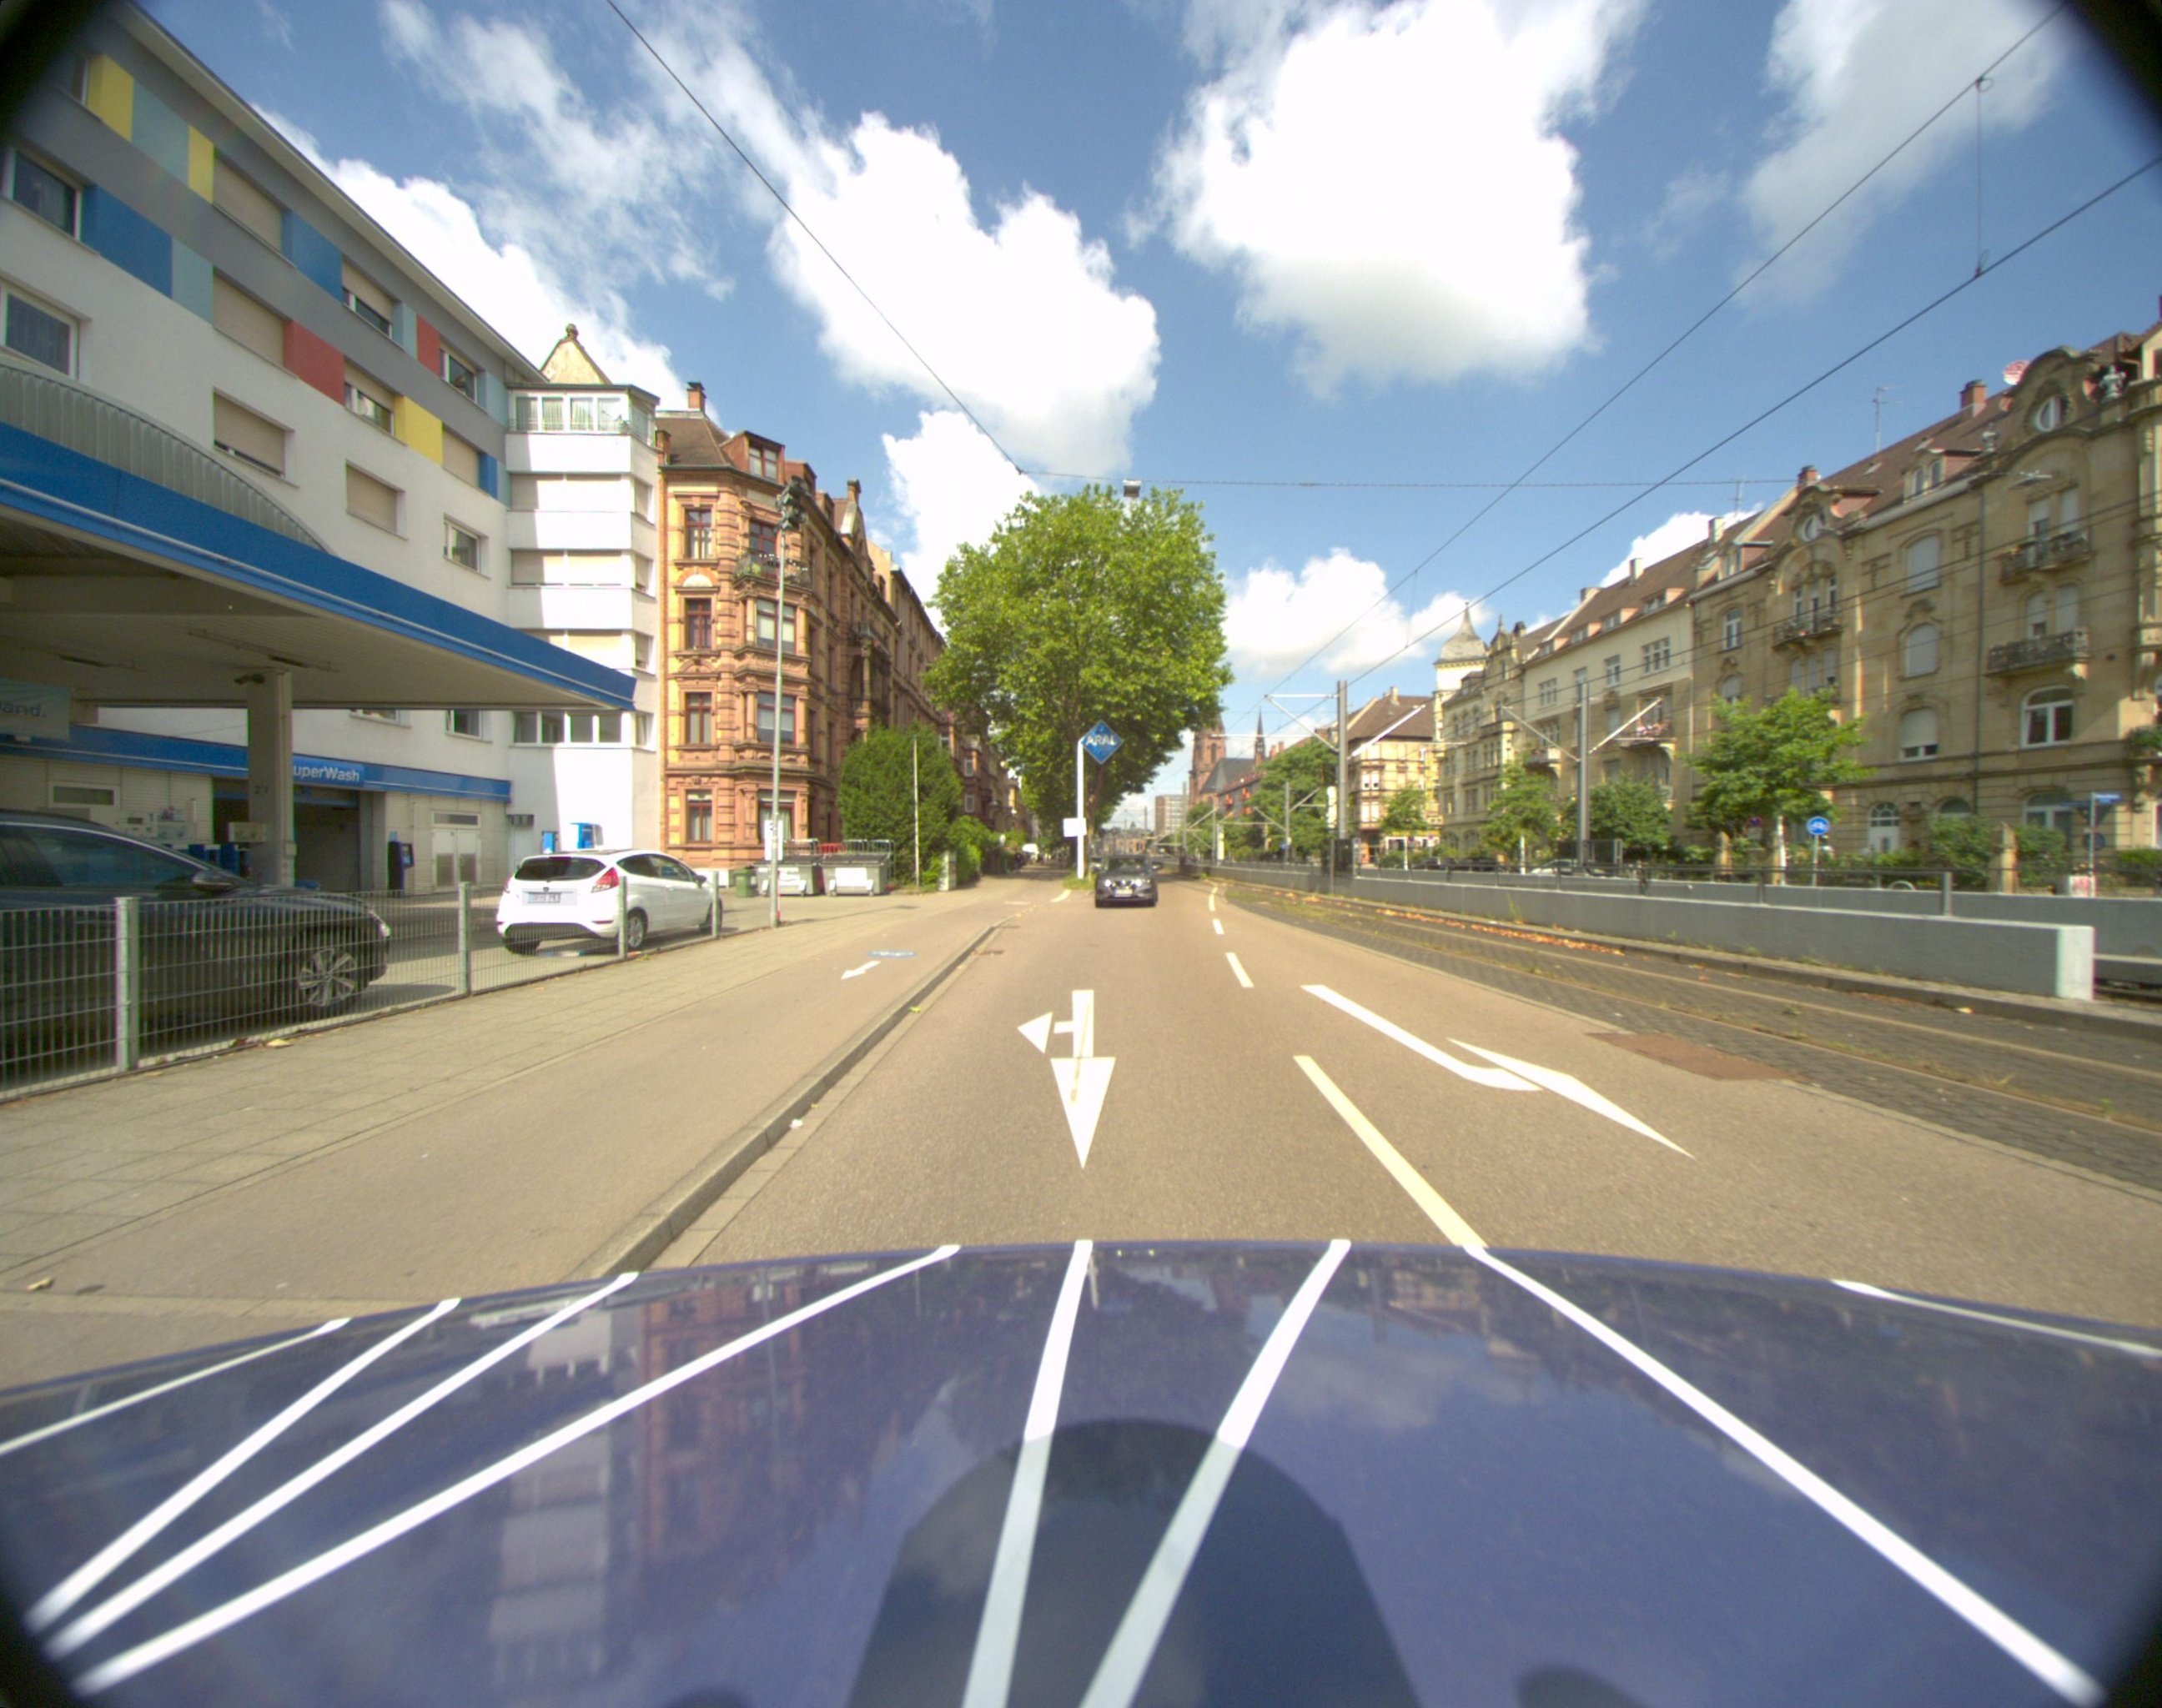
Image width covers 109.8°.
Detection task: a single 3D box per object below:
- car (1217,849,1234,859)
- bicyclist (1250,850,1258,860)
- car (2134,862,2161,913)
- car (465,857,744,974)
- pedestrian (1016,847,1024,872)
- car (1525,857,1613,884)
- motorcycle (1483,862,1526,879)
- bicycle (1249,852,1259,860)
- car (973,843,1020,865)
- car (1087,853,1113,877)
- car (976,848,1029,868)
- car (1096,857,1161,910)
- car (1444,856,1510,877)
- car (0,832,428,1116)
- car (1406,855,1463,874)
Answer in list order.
[{"bbox_3d":[24.677,-0.009,129.960,1.999,1.628,4.113,0,0,-1],"label":"car"},{"bbox_3d":[23.313,0.094,102.381,0.769,1.330,1.049,2,1,0],"label":"bicyclist"},{"bbox_3d":[32.849,0.972,21.307,3.789,1.455,1.933,0,0,3],"label":"car"},{"bbox_3d":[-6.976,0.789,11.715,1.810,1.447,4.000,-1,0,-1],"label":"car"},{"bbox_3d":[-4.491,0.397,55.987,0.565,1.776,0.630,0,1,-1],"label":"pedestrian"},{"bbox_3d":[25.695,0.841,40.206,1.756,1.320,4.311,0,0,-2],"label":"car"},{"bbox_3d":[25.662,0.997,46.089,1.765,0.936,1.417,2,0,-2],"label":"motorcycle"},{"bbox_3d":[23.312,0.295,102.564,0.778,0.973,2.140,2,0,0],"label":"bicycle"},{"bbox_3d":[-8.304,-0.036,74.904,4.409,1.927,1.983,3,0,-3],"label":"car"},{"bbox_3d":[1.268,0.725,52.039,1.558,1.477,3.858,1,0,-1],"label":"car"},{"bbox_3d":[-7.205,0.345,69.340,4.736,1.772,2.004,1,0,-8],"label":"car"},{"bbox_3d":[1.389,0.835,23.710,1.800,1.454,4.567,0,0,1],"label":"car"},{"bbox_3d":[25.511,0.777,49.121,2.025,1.319,4.099,0,0,-3],"label":"car"},{"bbox_3d":[-6.973,0.682,4.722,1.810,1.593,4.582,-1,0,1],"label":"car"},{"bbox_3d":[25.351,0.740,54.694,1.953,1.319,4.725,0,0,0],"label":"car"}]
